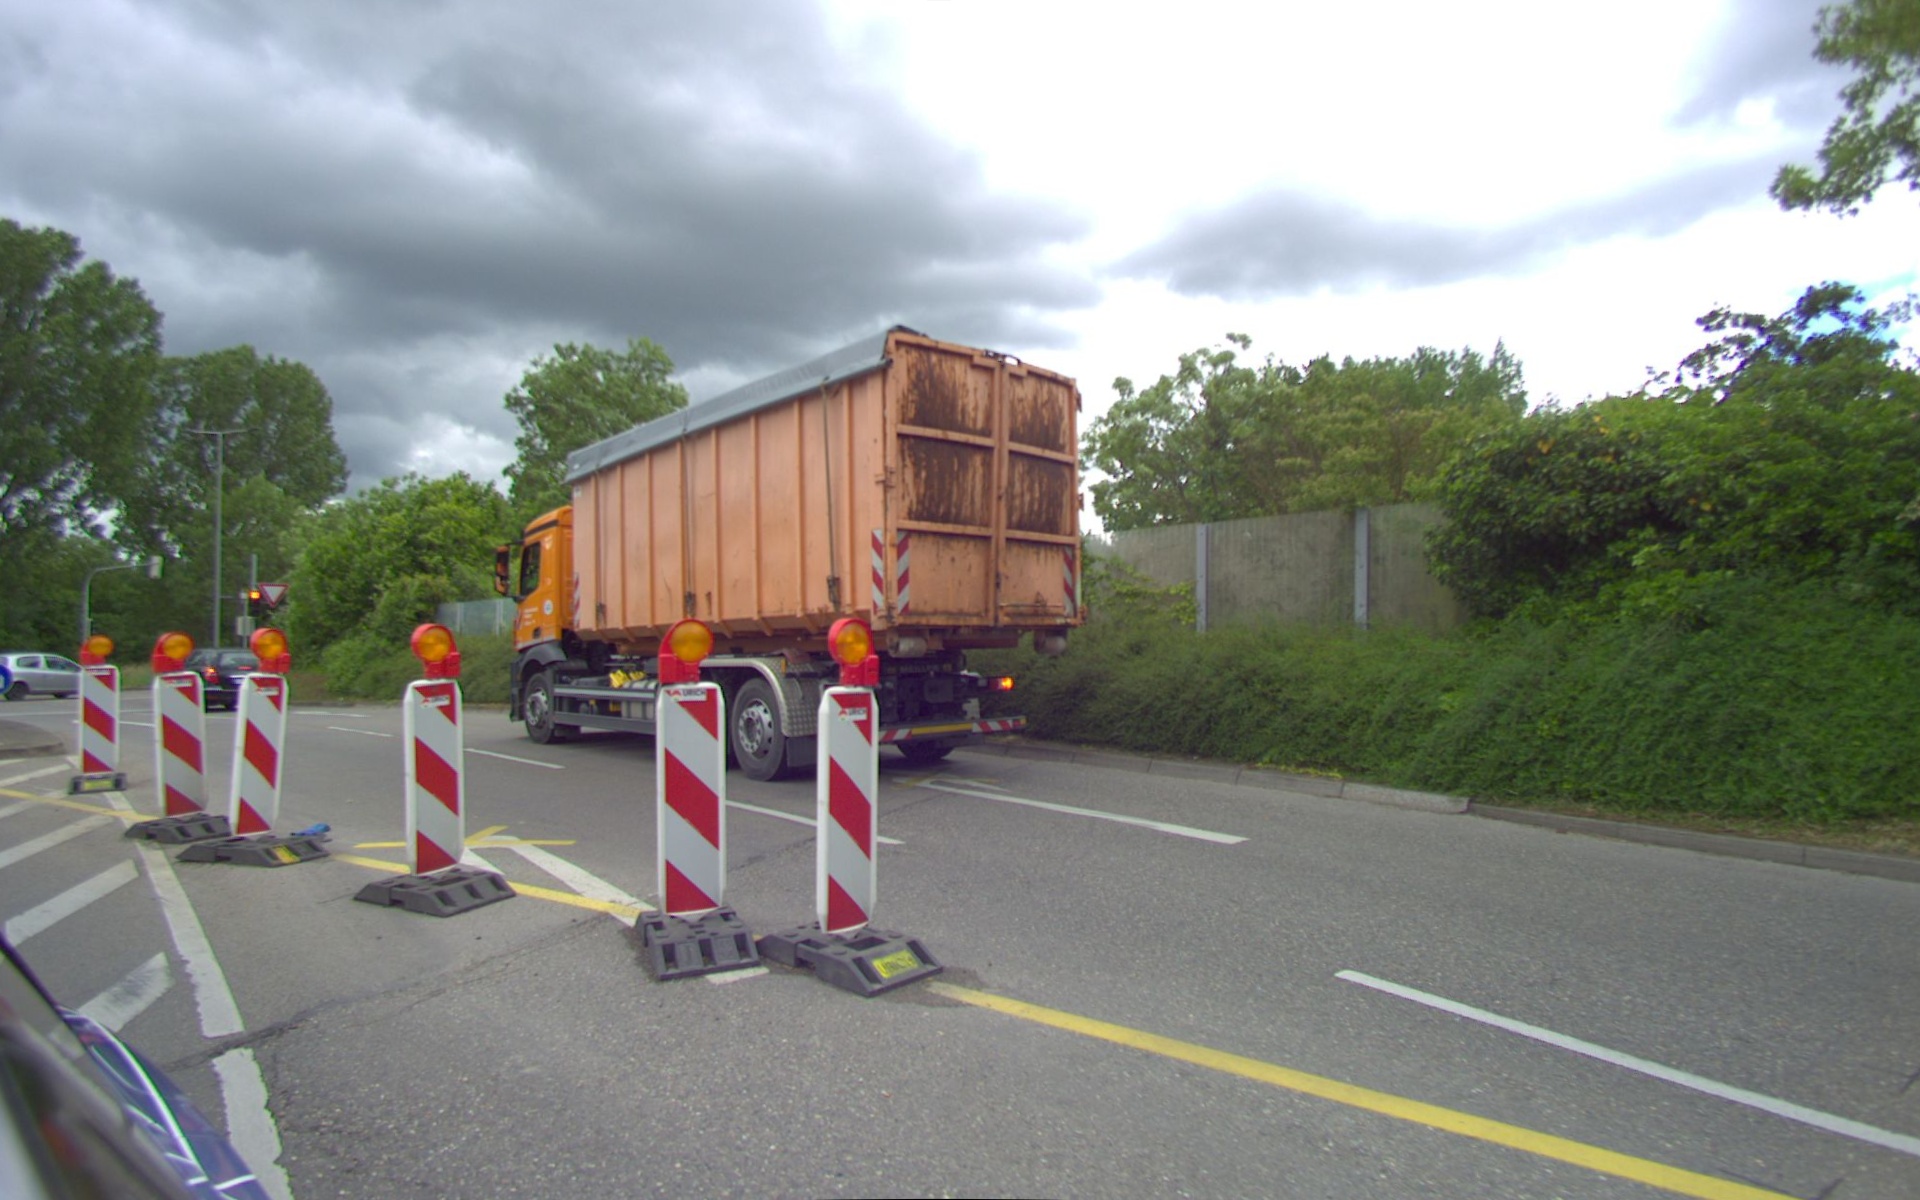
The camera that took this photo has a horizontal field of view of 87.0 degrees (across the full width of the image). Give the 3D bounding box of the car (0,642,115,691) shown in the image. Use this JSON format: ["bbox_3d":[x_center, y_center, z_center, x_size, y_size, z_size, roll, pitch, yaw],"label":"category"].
[{"bbox_3d":[-30.079,2.139,32.968,1.659,1.481,3.609,-2,-3,16],"label":"car"}]

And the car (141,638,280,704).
[{"bbox_3d":[-19.108,1.812,25.772,3.778,1.564,1.624,-3,-5,34],"label":"car"}]

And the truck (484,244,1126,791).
[{"bbox_3d":[-2.780,-0.475,12.552,3.072,4.253,9.806,1,-3,-41],"label":"truck"}]
